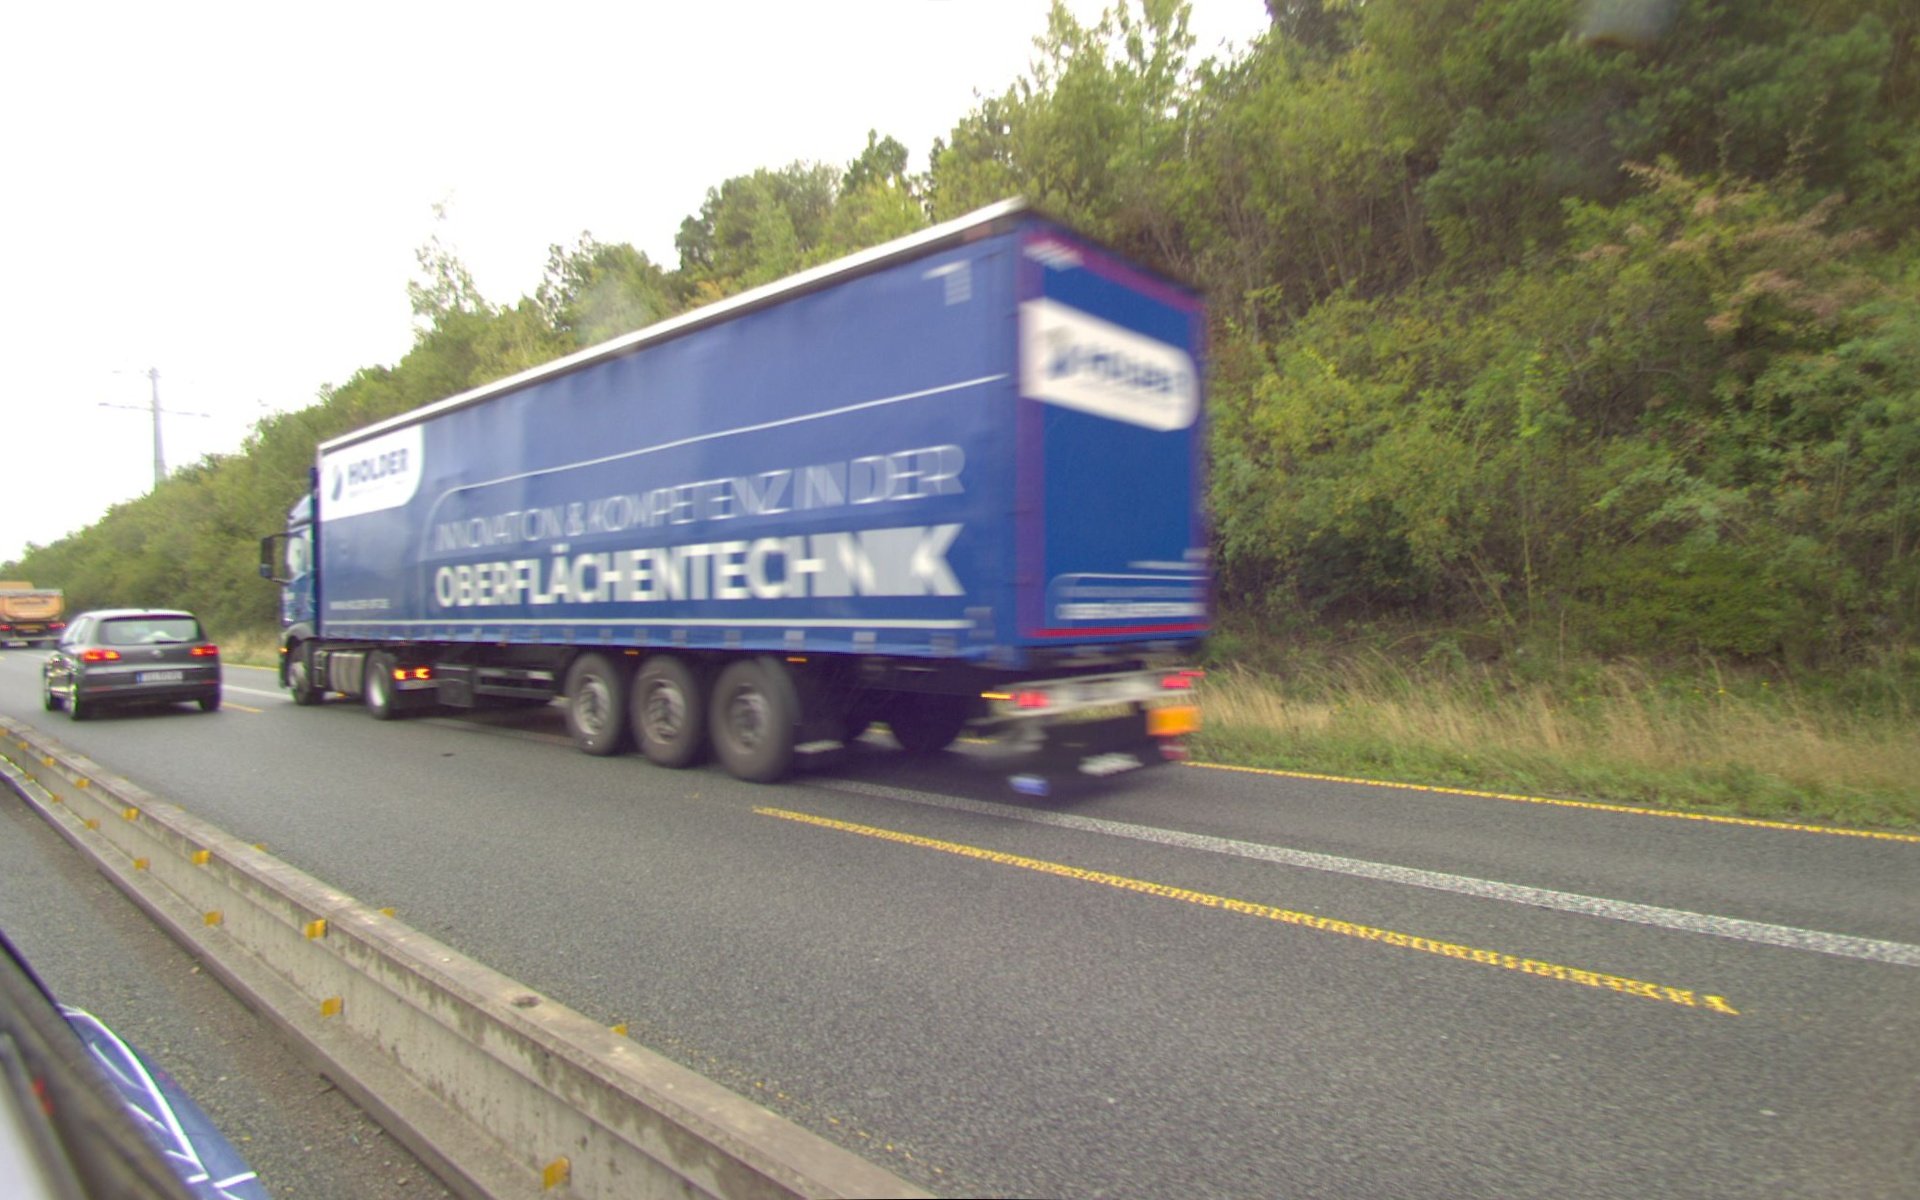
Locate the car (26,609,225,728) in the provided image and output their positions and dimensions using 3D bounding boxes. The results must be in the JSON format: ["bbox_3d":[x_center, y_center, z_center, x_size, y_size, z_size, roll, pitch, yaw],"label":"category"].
[{"bbox_3d":[-13.255,0.978,15.996,4.101,1.622,1.765,-1,0,41],"label":"car"}]

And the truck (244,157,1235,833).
[{"bbox_3d":[-5.021,-0.565,12.835,16.918,4.154,2.737,-1,0,41],"label":"truck"}]

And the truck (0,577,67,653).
[{"bbox_3d":[-50.273,0.782,53.954,12.308,3.684,2.653,-1,0,42],"label":"truck"}]
